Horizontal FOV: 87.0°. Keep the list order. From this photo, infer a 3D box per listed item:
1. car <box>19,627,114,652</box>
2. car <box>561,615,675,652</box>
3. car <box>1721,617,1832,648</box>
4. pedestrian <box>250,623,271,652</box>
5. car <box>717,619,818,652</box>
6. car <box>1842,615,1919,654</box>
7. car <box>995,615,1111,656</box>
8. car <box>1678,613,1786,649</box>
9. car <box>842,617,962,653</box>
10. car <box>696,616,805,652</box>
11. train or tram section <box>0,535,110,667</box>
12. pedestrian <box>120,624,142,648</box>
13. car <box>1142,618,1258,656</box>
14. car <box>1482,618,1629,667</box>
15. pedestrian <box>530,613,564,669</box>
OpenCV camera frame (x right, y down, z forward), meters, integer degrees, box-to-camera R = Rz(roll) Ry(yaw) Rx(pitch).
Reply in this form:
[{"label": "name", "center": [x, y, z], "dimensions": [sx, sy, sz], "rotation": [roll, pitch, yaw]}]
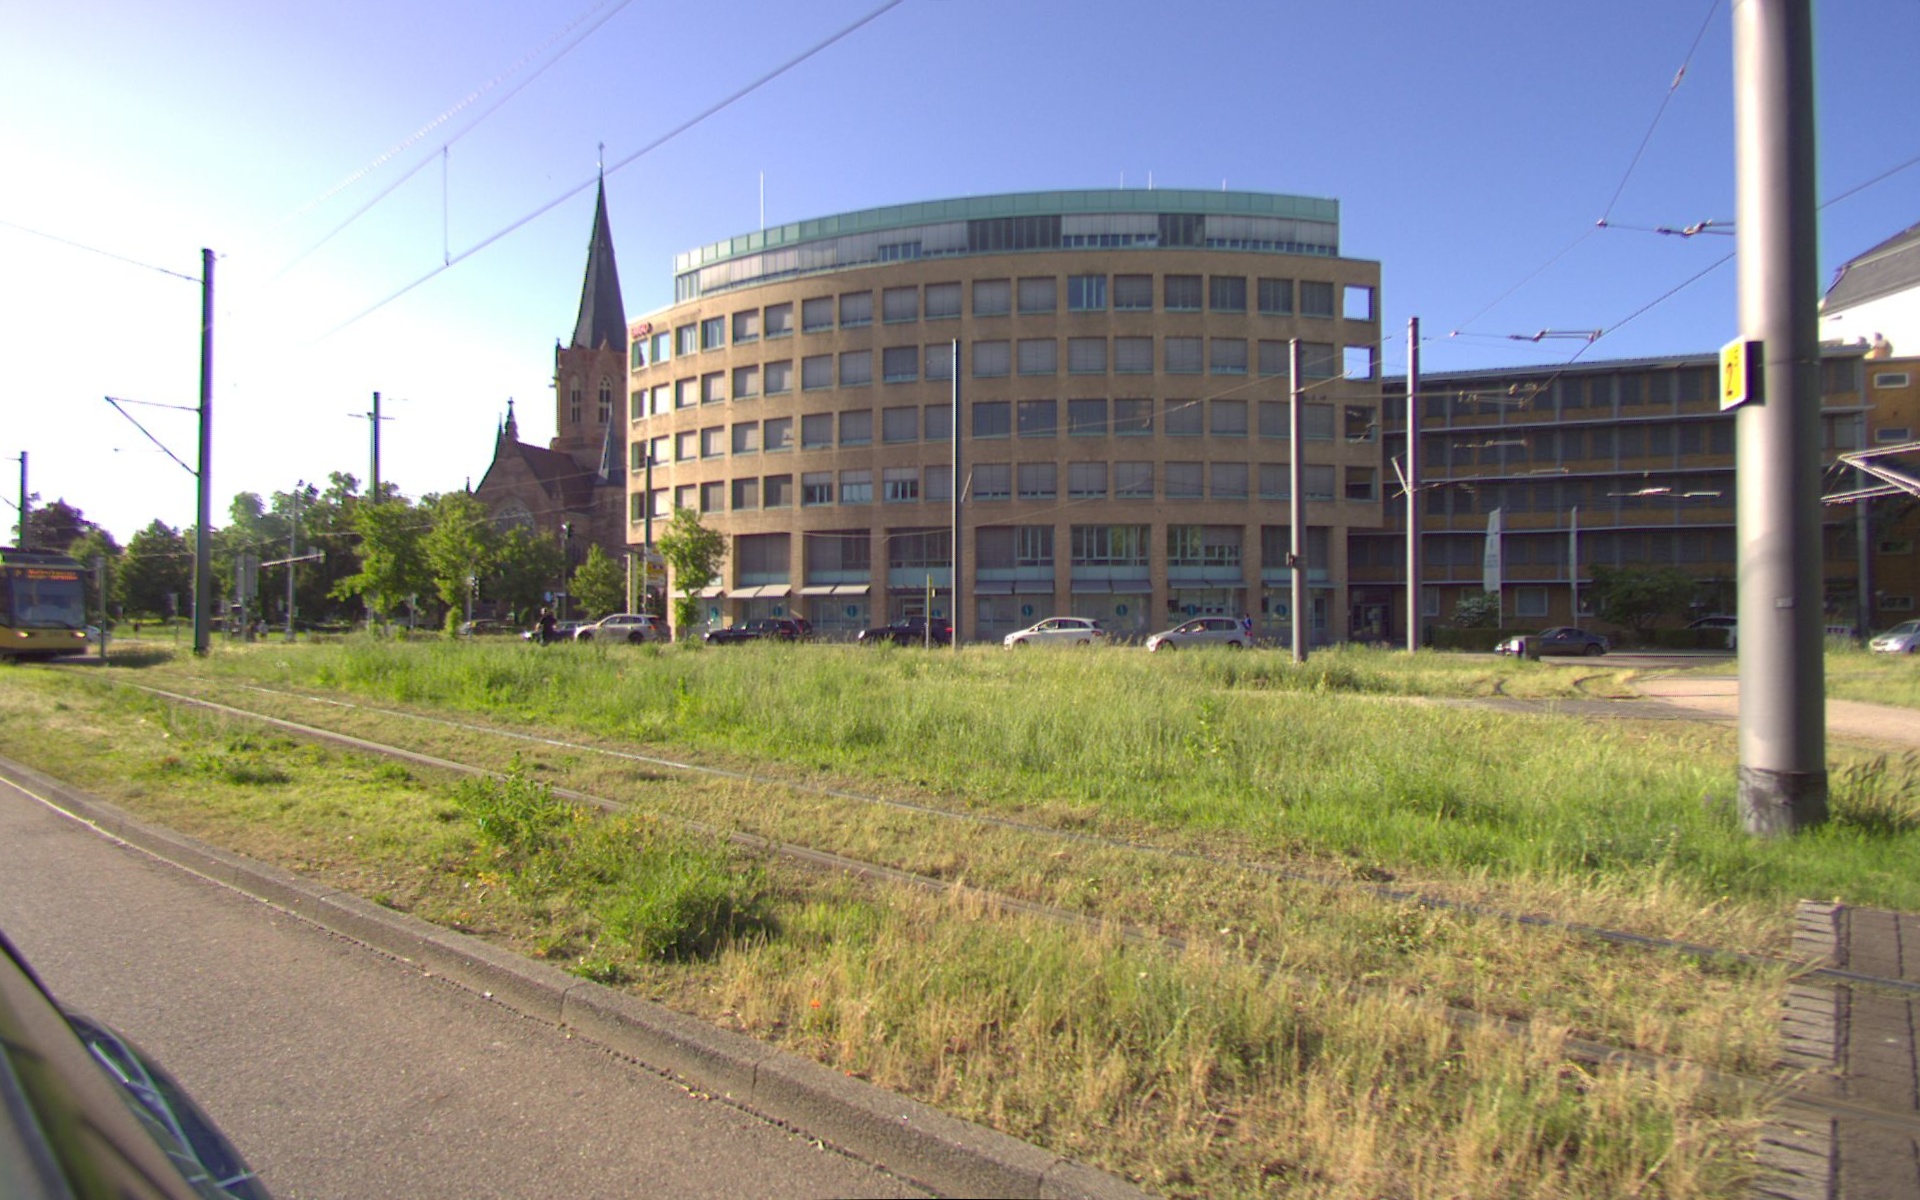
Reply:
[{"label": "car", "center": [-61.162, 2.677, 69.326], "dimensions": [4.636, 1.586, 1.773], "rotation": [-1, 1, -11]}, {"label": "car", "center": [-16.716, 1.634, 49.555], "dimensions": [5.041, 1.747, 2.095], "rotation": [-1, -1, 17]}, {"label": "car", "center": [41.138, 1.611, 51.080], "dimensions": [1.967, 1.351, 4.010], "rotation": [-1, 1, -12]}, {"label": "pedestrian", "center": [-49.479, 2.643, 71.600], "dimensions": [0.918, 2.029, 0.874], "rotation": [0, 0, 19]}, {"label": "car", "center": [-10.641, 1.922, 55.949], "dimensions": [5.168, 1.681, 2.112], "rotation": [0, 1, 18]}, {"label": "car", "center": [36.697, 1.257, 38.206], "dimensions": [4.713, 1.364, 1.995], "rotation": [-1, 0, 9]}, {"label": "car", "center": [3.950, 1.489, 42.965], "dimensions": [4.615, 1.608, 1.989], "rotation": [0, 1, 17]}, {"label": "car", "center": [38.606, 1.514, 50.733], "dimensions": [1.967, 1.593, 4.010], "rotation": [-1, 1, -12]}, {"label": "car", "center": [-2.569, 1.518, 45.025], "dimensions": [4.983, 1.458, 1.986], "rotation": [0, 1, 21]}, {"label": "car", "center": [-9.717, 1.554, 47.013], "dimensions": [4.622, 1.528, 1.989], "rotation": [0, 1, 17]}, {"label": "train or tram section", "center": [-32.235, 0.161, 32.854], "dimensions": [13.133, 3.713, 2.928], "rotation": [-1, -1, 31]}, {"label": "pedestrian", "center": [-65.571, 2.809, 80.059], "dimensions": [1.105, 1.860, 0.841], "rotation": [0, 0, 16]}, {"label": "car", "center": [9.720, 1.462, 41.149], "dimensions": [4.466, 1.438, 1.991], "rotation": [0, 1, 14]}, {"label": "car", "center": [22.151, 1.546, 37.812], "dimensions": [4.241, 1.524, 1.991], "rotation": [3, 0, 14]}, {"label": "pedestrian", "center": [-12.623, 1.238, 30.907], "dimensions": [0.745, 1.683, 0.725], "rotation": [-2, -2, 45]}]
